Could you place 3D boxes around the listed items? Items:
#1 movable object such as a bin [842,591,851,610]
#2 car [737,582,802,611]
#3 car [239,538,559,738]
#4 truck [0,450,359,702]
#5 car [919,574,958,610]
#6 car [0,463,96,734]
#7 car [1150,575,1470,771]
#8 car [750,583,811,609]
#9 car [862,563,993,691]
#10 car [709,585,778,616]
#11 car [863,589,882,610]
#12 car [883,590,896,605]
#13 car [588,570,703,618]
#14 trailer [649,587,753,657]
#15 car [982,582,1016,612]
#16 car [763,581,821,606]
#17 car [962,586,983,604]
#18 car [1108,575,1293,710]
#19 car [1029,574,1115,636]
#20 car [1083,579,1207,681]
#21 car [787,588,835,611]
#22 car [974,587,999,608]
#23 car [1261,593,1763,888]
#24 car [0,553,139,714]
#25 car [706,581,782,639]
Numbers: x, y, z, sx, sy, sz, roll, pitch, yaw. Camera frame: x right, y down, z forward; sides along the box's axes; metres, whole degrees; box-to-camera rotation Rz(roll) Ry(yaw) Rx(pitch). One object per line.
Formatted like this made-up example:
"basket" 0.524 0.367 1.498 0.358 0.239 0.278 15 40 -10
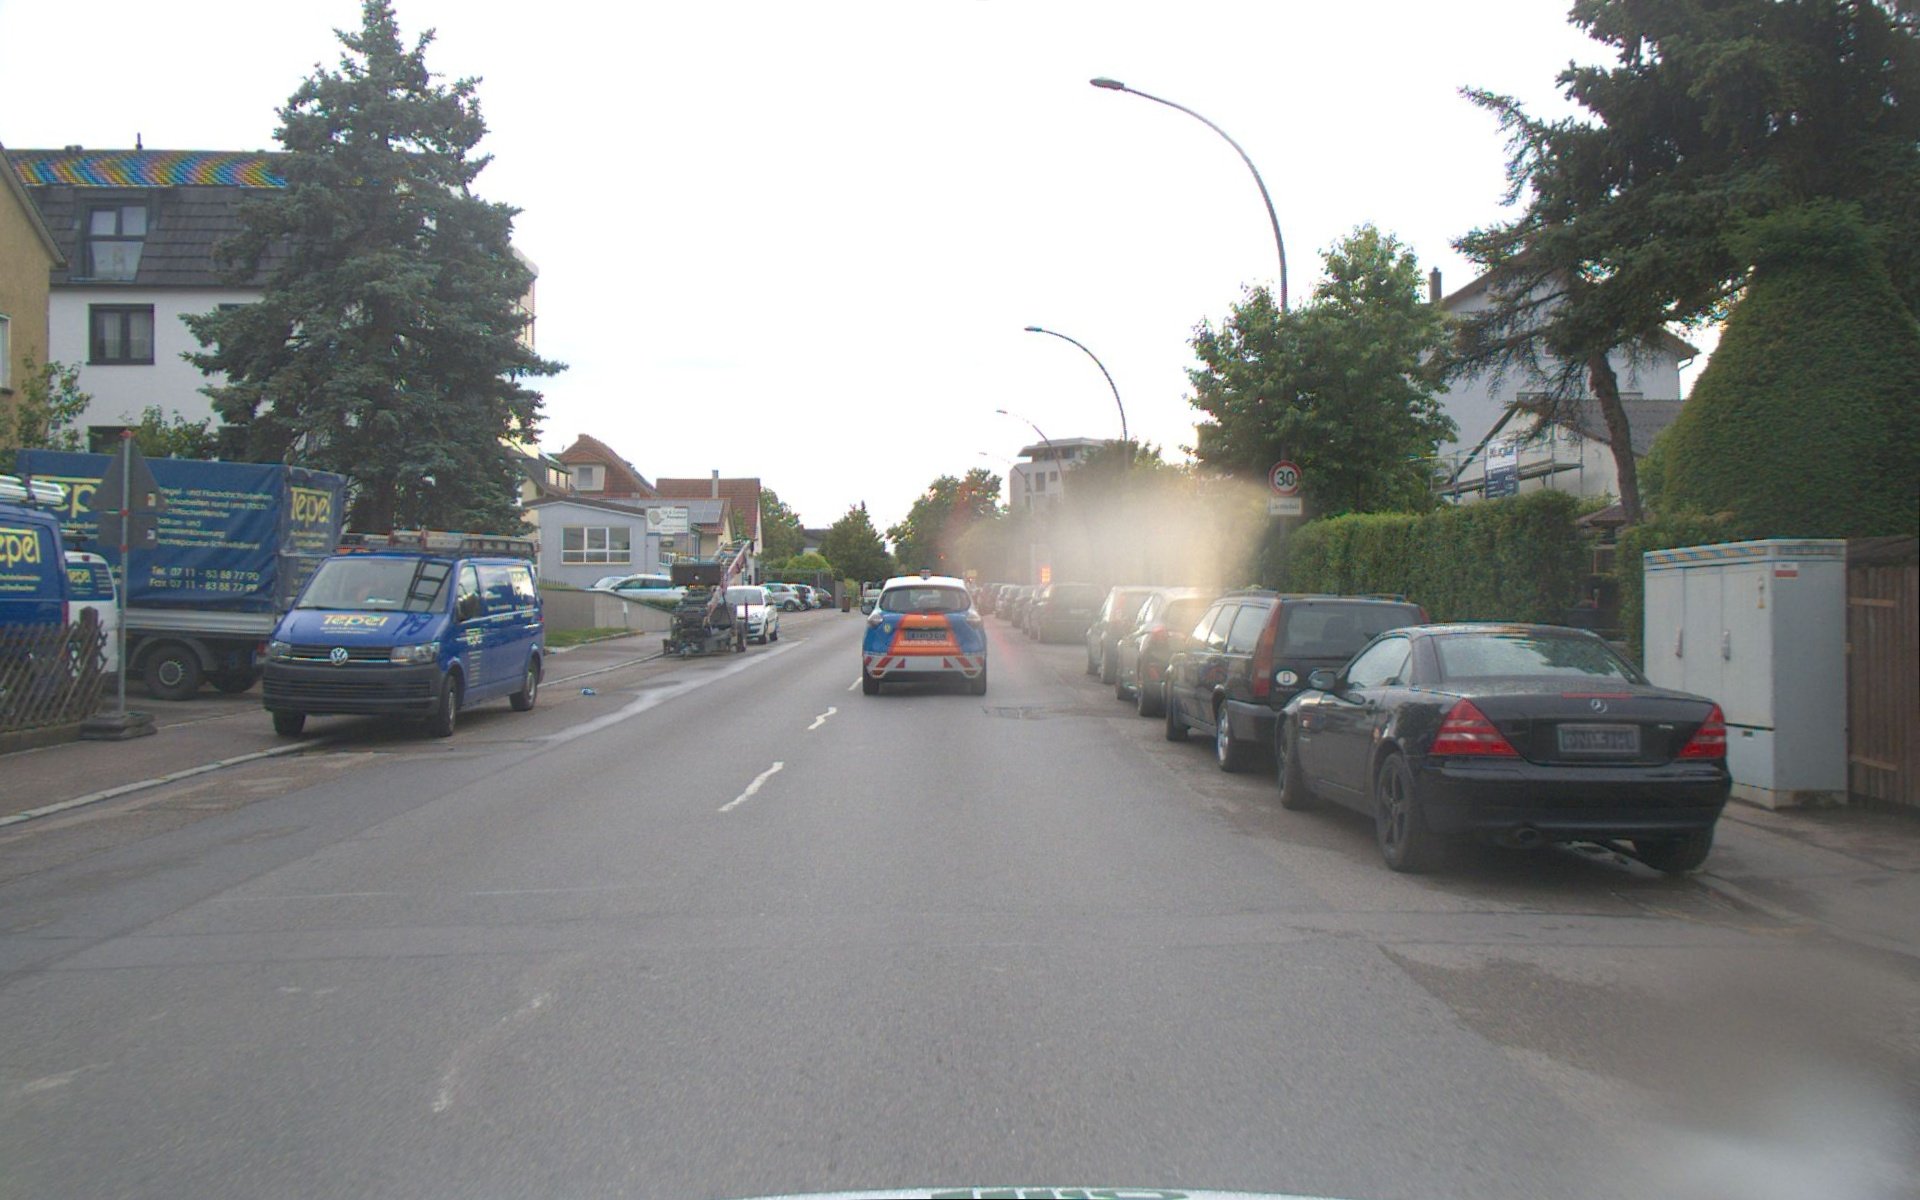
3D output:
"movable object such as a bin" -7.418 0.049 107.984 0.568 1.225 0.318 1 0 -1
"car" -11.234 -0.213 97.630 3.686 1.604 1.654 1 0 -5
"car" -6.247 0.339 19.175 1.953 1.981 5.364 0 1 -1
"truck" -11.431 -0.324 22.177 5.790 3.127 2.449 1 0 0
"car" -0.980 -0.346 73.691 1.617 1.548 3.998 1 0 -2
"car" -10.265 -0.023 14.528 2.033 2.612 6.201 1 0 0
"car" 2.898 0.543 14.768 1.623 1.444 4.774 1 0 -3
"car" -11.043 -0.253 101.996 3.686 1.509 1.654 1 0 -5
"car" -0.456 0.344 23.344 1.696 1.659 3.494 0 0 -1
"car" -11.375 0.029 87.044 3.510 1.553 1.654 1 0 -5
"car" -6.476 -0.042 122.954 1.358 1.509 3.782 0 0 -2
"car" -6.012 -0.214 141.245 1.128 1.254 3.371 -1 1 -2
"car" -10.954 -0.198 57.745 3.684 1.595 1.655 1 0 -2
"trailer" -5.702 0.437 36.965 1.683 1.282 5.243 1 2 -2
"car" 2.126 -0.173 90.579 1.617 1.548 3.998 1 0 -2
"car" -10.751 -0.436 105.917 3.582 1.509 1.478 -2 1 -5
"car" 1.107 -0.446 144.275 1.617 1.509 3.998 1 0 -2
"car" 2.838 0.443 20.248 1.624 1.474 3.829 1 1 -1
"car" 2.791 0.117 42.038 1.677 1.463 4.524 1 0 -3
"car" 2.844 0.418 26.088 1.456 1.464 3.806 1 1 -1
"car" -10.249 -0.013 113.916 3.217 1.473 1.478 -2 1 -5
"car" 1.978 -0.203 123.172 1.617 1.509 3.998 1 0 -2
"car" 3.088 0.685 10.165 1.557 1.364 4.091 2 1 -2
"car" -11.845 0.343 19.275 3.632 1.780 1.778 1 0 1
"car" -5.737 0.243 44.335 1.525 1.458 4.000 1 0 0
